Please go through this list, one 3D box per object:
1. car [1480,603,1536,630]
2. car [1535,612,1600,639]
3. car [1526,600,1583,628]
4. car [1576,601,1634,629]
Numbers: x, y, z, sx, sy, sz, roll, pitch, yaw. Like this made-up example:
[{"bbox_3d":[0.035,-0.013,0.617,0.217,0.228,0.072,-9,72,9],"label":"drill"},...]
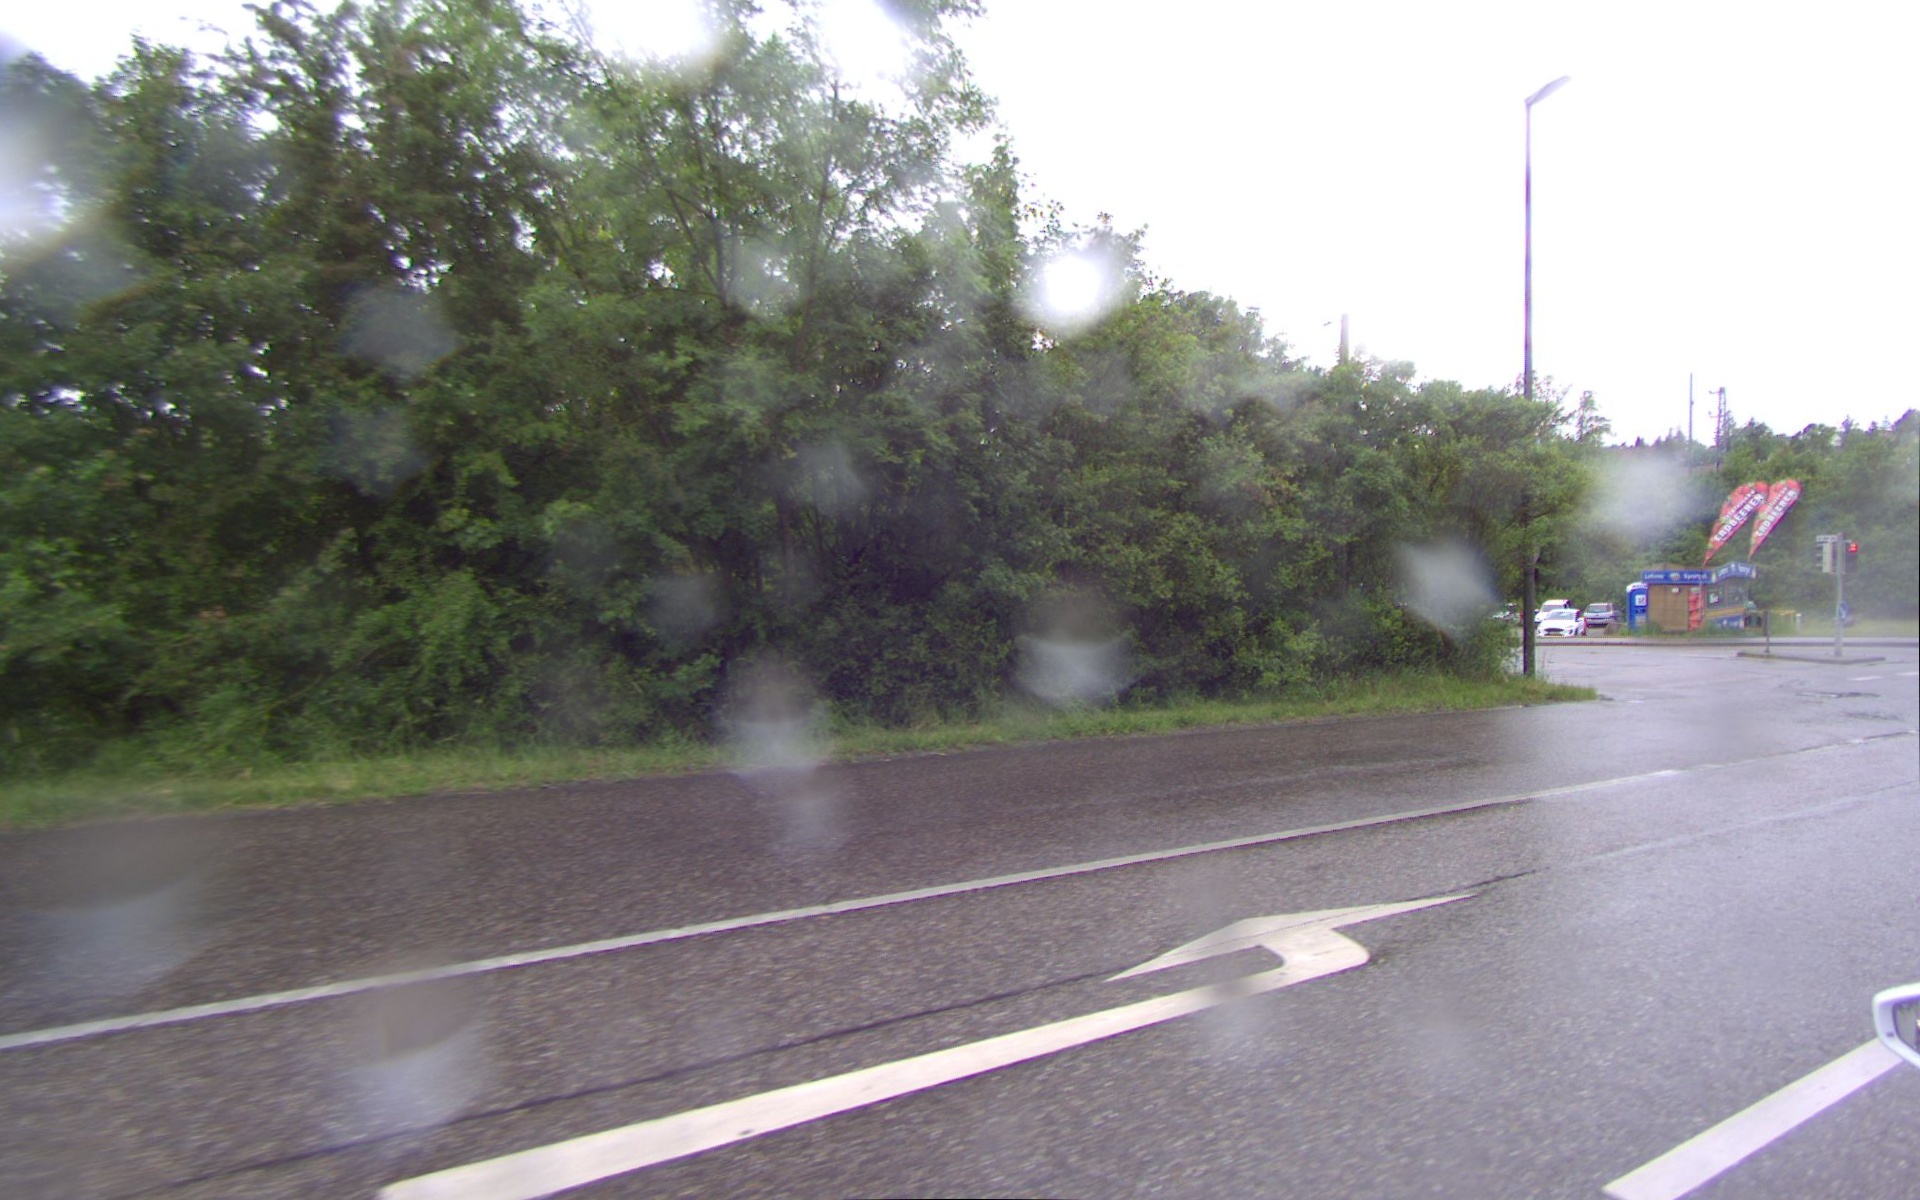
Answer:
[{"bbox_3d":[34.045,1.056,62.365,3.972,1.606,1.974,2,-1,-43],"label":"car"},{"bbox_3d":[31.483,1.321,52.017,4.868,1.358,1.636,2,-1,-44],"label":"car"},{"bbox_3d":[35.956,0.831,60.704,3.972,1.606,1.975,0,-1,-43],"label":"car"},{"bbox_3d":[38.255,0.867,59.530,3.972,1.606,1.975,0,-1,-43],"label":"car"}]
